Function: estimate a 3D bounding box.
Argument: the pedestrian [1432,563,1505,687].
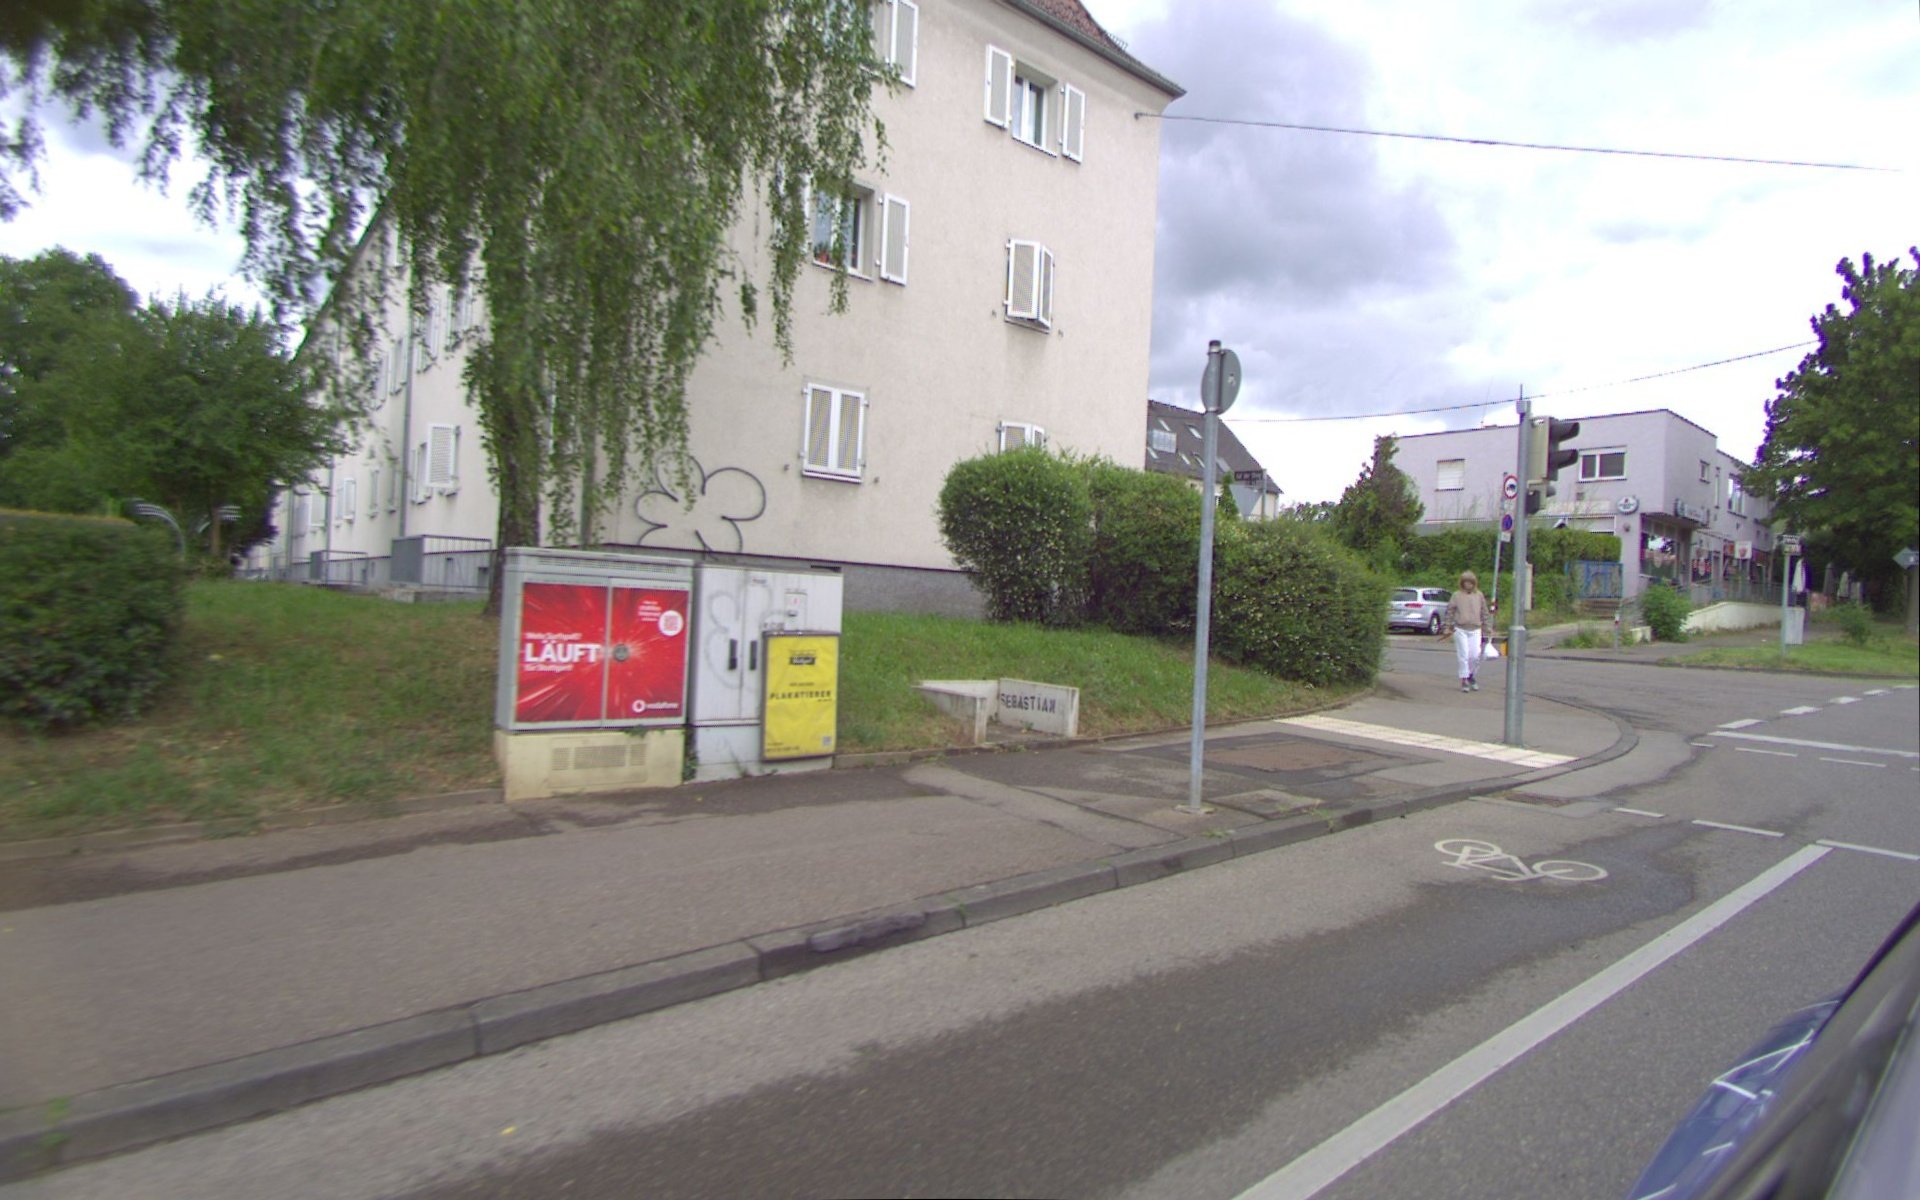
[{"bbox_3d":[7.298,0.348,14.524,0.564,1.706,0.659,3,1,-38],"label":"pedestrian"}]

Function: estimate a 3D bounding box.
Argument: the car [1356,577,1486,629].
[{"bbox_3d":[14.430,0.079,31.580,4.531,1.482,1.997,0,0,-41],"label":"car"}]

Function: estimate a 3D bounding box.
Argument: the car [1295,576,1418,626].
[{"bbox_3d":[13.350,0.023,33.967,4.531,1.553,1.997,0,0,-41],"label":"car"}]
